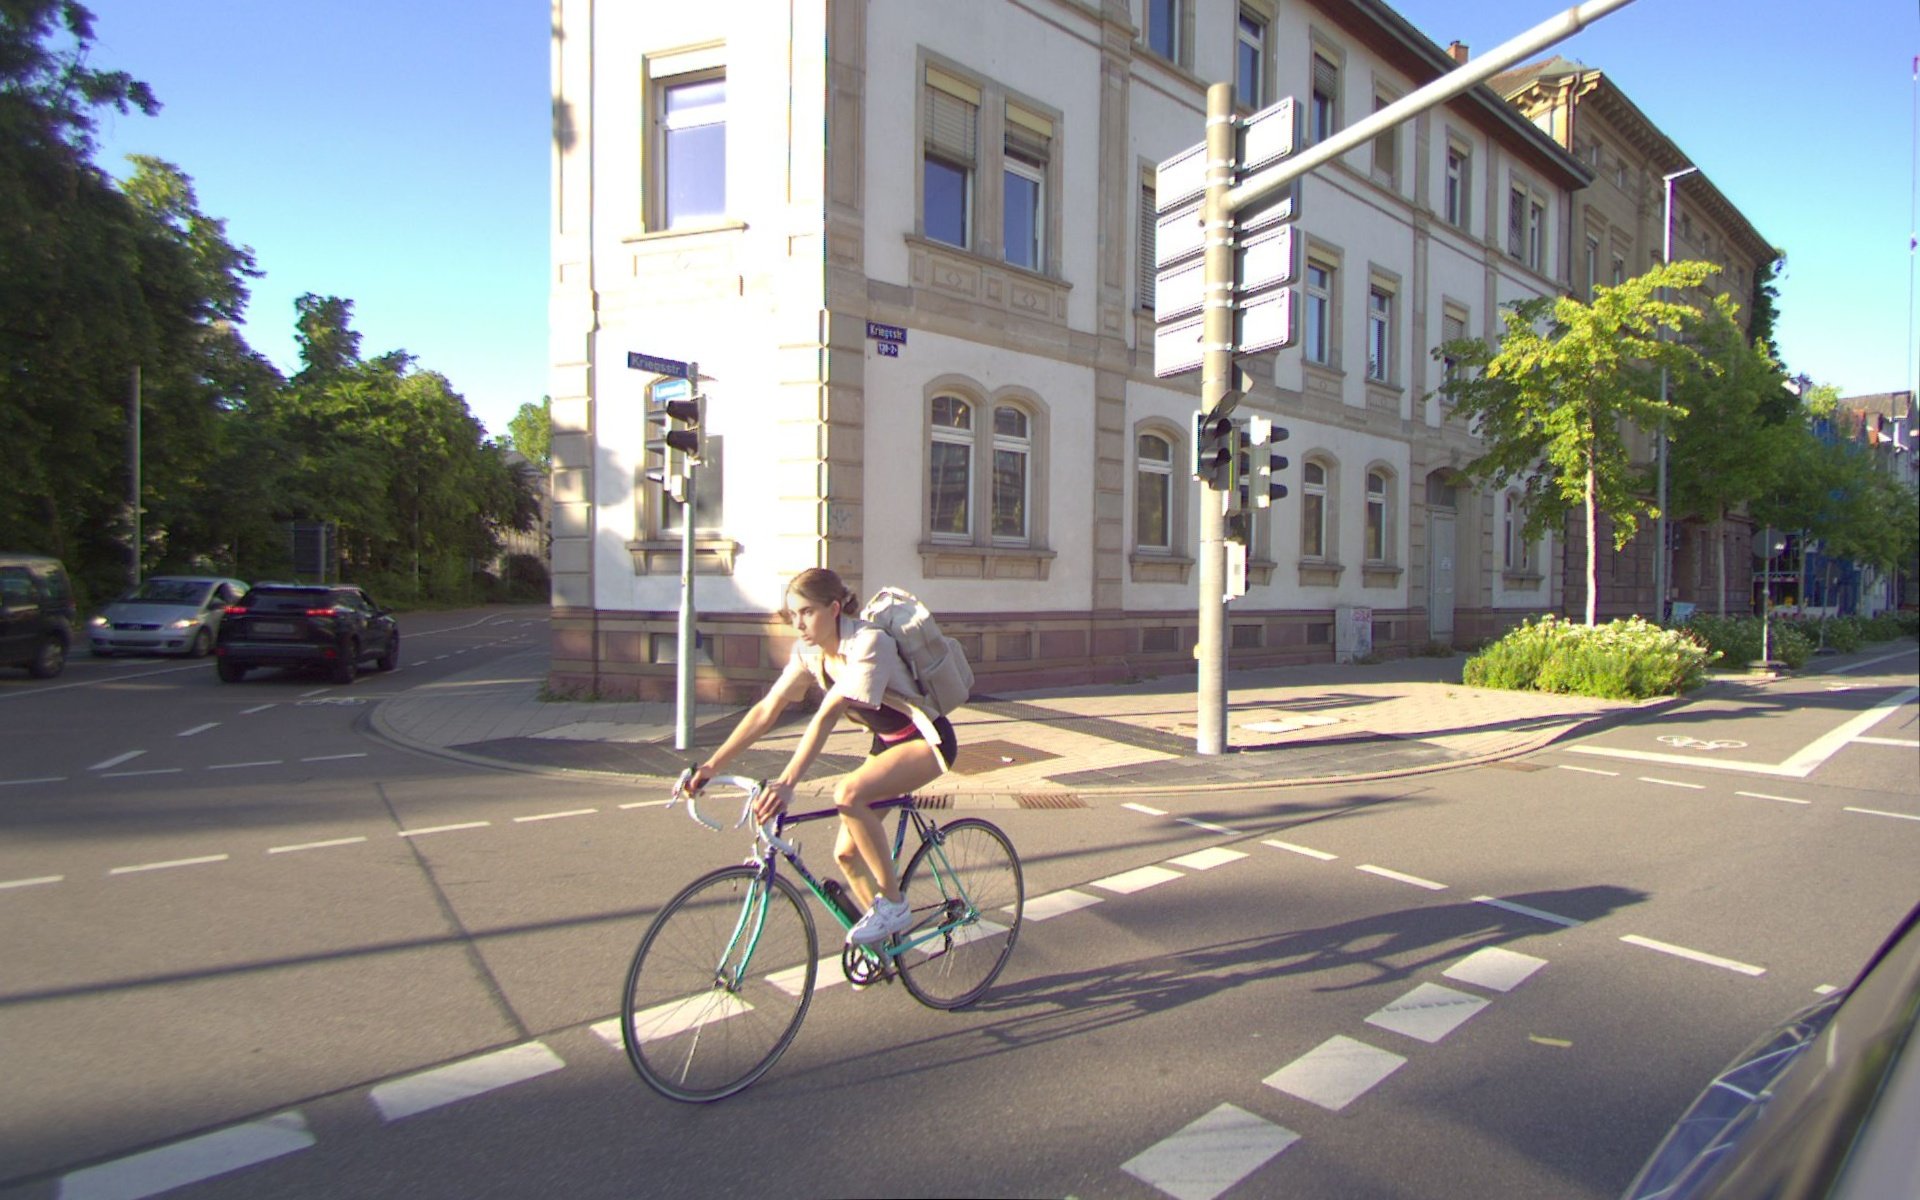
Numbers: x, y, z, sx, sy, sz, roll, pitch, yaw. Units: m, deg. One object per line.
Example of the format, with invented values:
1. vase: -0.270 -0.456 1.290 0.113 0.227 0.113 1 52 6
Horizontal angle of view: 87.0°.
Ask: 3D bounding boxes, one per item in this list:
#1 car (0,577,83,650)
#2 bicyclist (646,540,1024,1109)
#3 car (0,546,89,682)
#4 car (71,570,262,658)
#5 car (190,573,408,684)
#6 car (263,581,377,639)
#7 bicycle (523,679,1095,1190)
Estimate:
1. car: -19.490 0.256 19.818 1.863 1.399 4.244 0 1 -15
2. bicyclist: -0.375 0.591 3.240 1.062 1.510 0.553 1 0 -41
3. car: -13.806 0.161 13.290 1.908 1.827 4.257 2 0 -16
4. car: -15.542 0.229 20.055 1.702 1.530 3.537 2 0 -16
5. car: -10.669 0.425 16.702 1.863 1.547 4.067 3 -1 -16
6. car: -17.301 0.228 27.526 1.597 1.433 3.658 2 0 -16
7. bicycle: -0.373 0.872 3.243 1.810 1.111 0.521 0 0 -41
